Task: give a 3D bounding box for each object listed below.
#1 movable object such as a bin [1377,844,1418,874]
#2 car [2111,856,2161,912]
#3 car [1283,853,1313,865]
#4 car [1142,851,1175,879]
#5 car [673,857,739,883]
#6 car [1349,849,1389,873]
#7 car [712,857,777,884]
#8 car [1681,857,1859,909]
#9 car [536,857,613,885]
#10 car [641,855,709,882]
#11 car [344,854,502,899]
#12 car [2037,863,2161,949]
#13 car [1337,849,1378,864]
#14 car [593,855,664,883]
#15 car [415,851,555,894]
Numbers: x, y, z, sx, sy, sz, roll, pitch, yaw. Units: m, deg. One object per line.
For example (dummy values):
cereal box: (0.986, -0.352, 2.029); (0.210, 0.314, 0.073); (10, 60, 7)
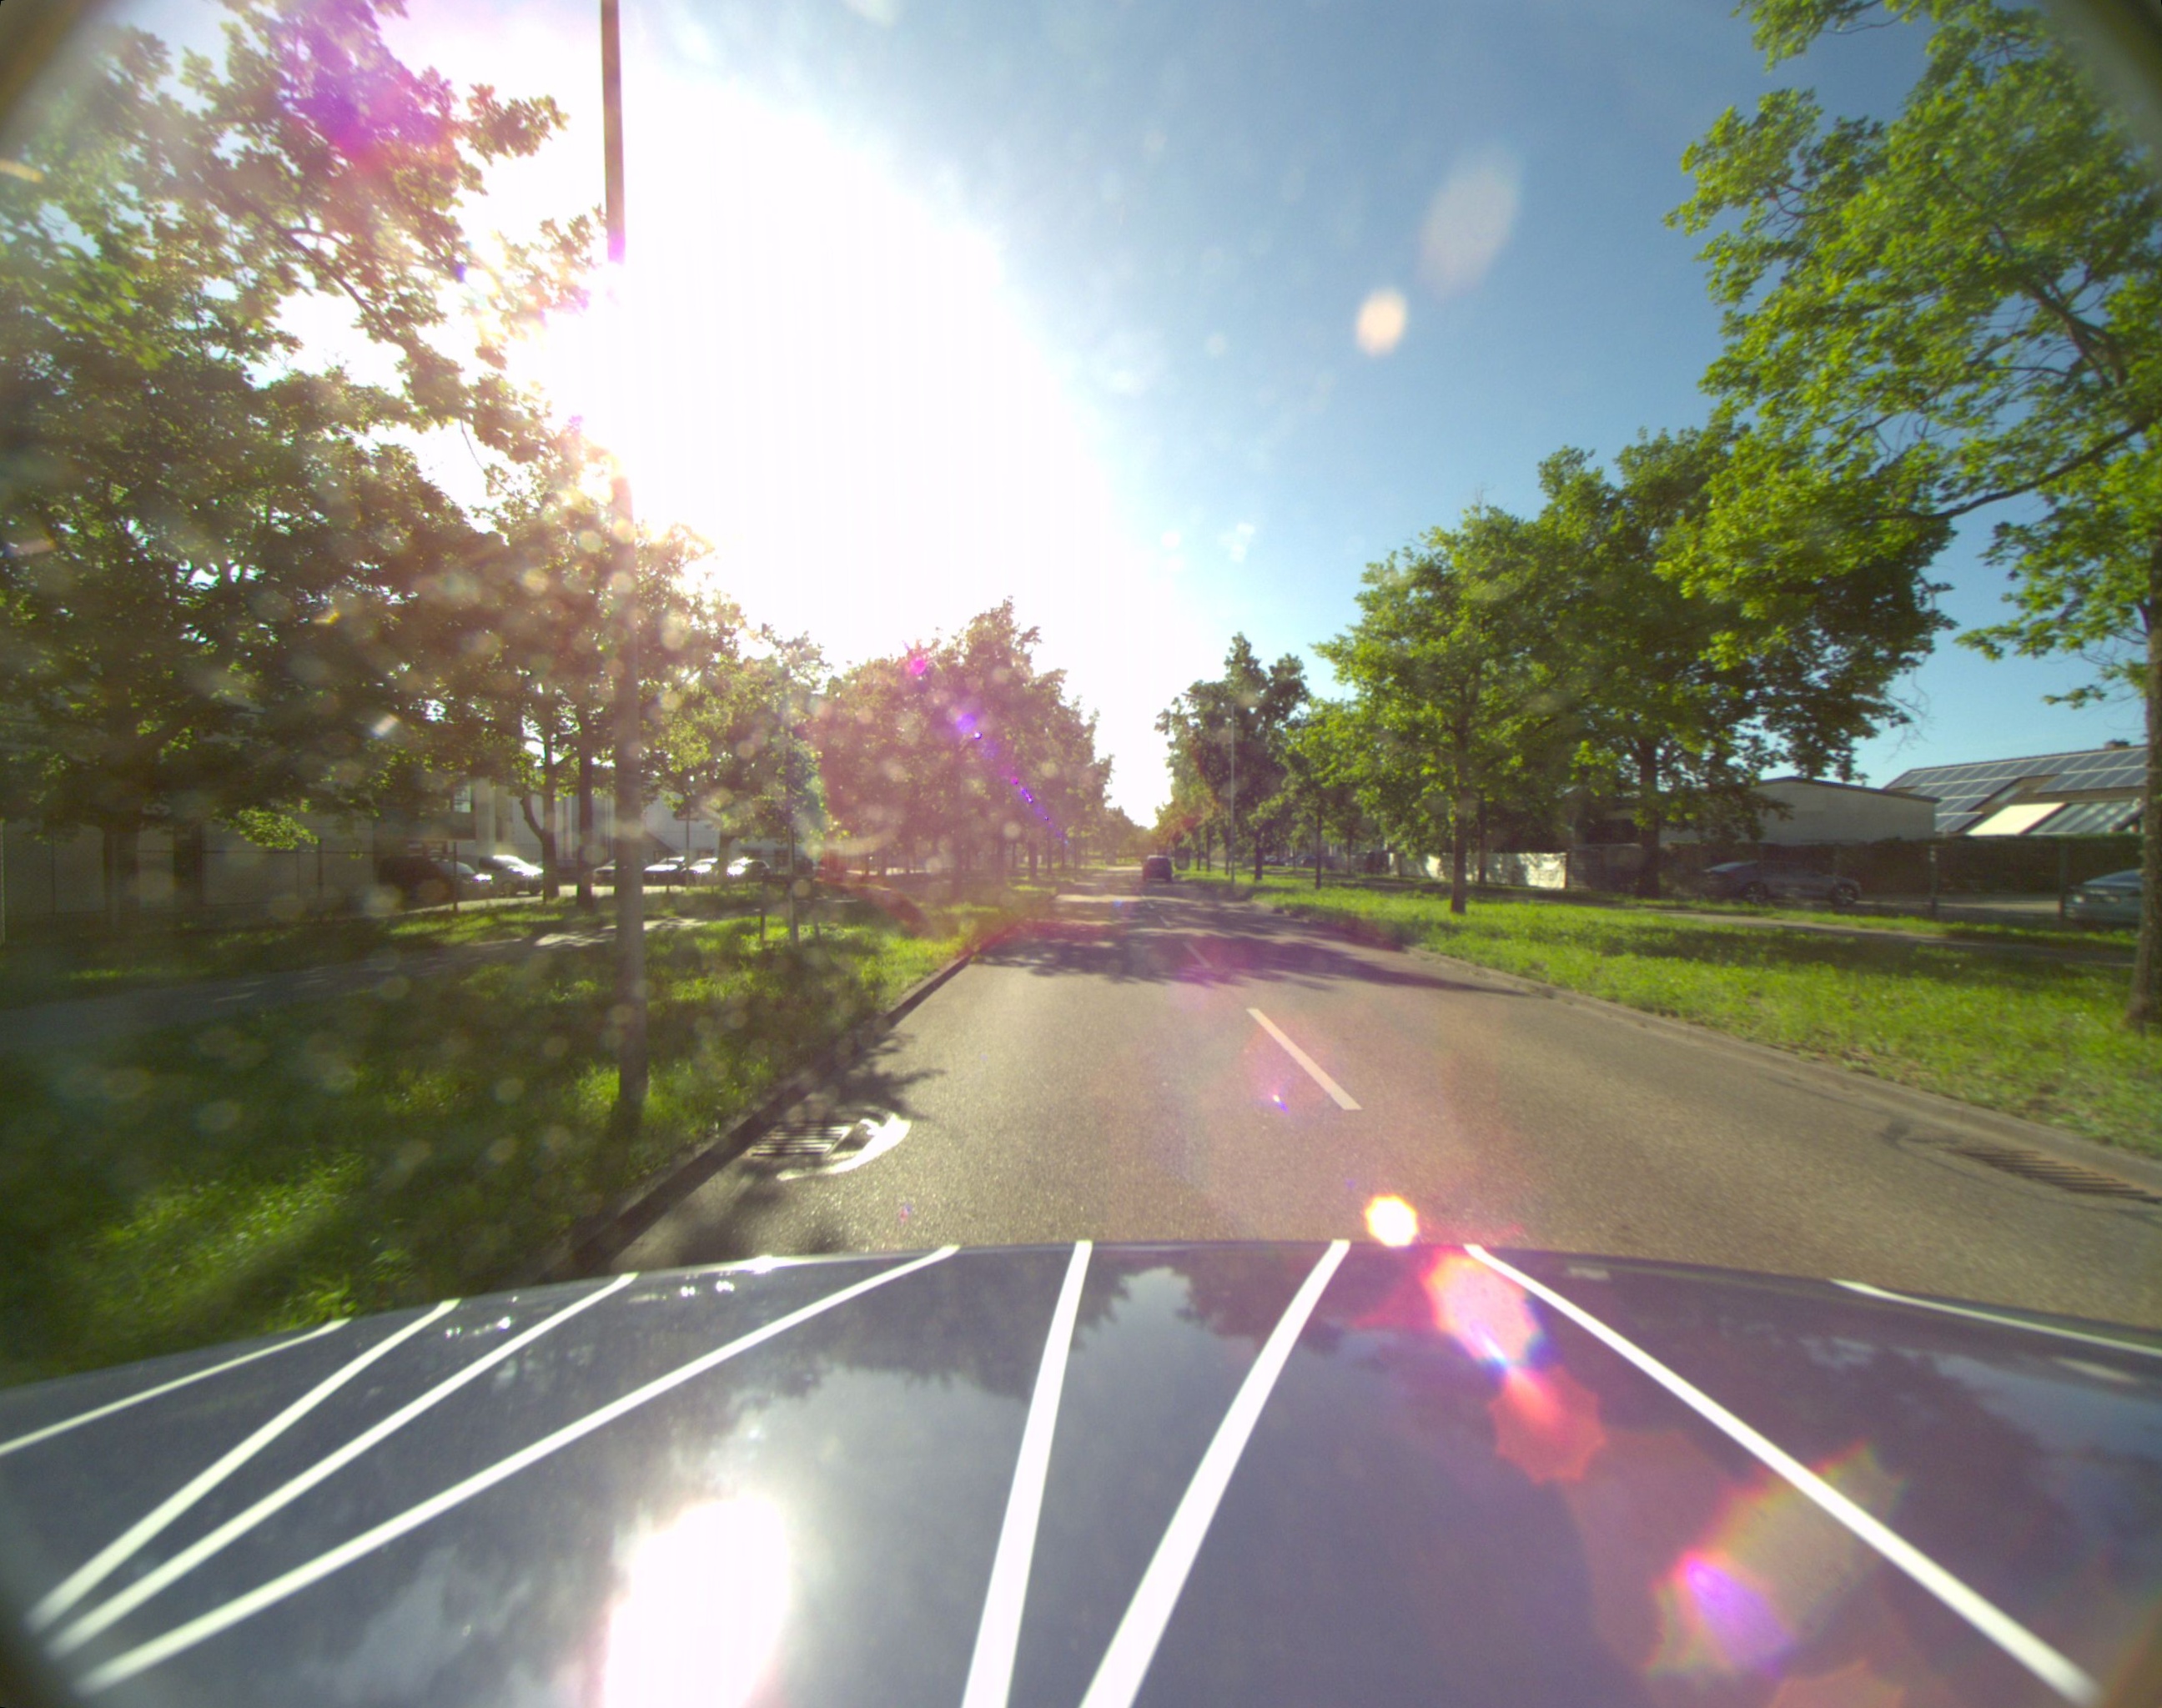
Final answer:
movable object such as a bin: (27.576, 0.375, 66.331); (1.998, 2.501, 4.237); (-2, 1, 5)
car: (32.367, 0.804, 21.450); (3.996, 1.510, 1.751); (-2, 1, 3)
car: (31.110, 0.702, 108.814); (3.885, 1.493, 2.003); (-2, 1, 24)
car: (4.973, 0.695, 49.268); (1.772, 1.663, 4.199); (1, 1, 2)
car: (-24.254, 0.996, 49.282); (1.998, 1.550, 4.456); (0, 0, 1)
car: (27.293, 0.639, 72.324); (1.998, 2.162, 5.672); (-1, 0, 4)
car: (-21.451, 1.013, 48.634); (1.998, 1.597, 4.715); (0, 1, 1)
car: (23.406, 0.960, 25.968); (3.996, 1.510, 2.198); (-2, 1, 3)
car: (-33.677, 1.096, 50.663); (1.698, 1.646, 4.458); (-2, 1, 8)
car: (-26.578, 0.932, 49.902); (1.998, 1.663, 4.456); (0, 0, 1)
car: (-28.289, 0.946, 32.805); (4.961, 1.873, 1.999); (0, 1, -2)
car: (22.665, 0.975, 15.291); (4.321, 1.510, 1.862); (-2, 1, 3)
car: (38.563, 0.344, 106.023); (5.038, 1.827, 2.003); (-2, 1, 26)
car: (-29.199, 0.933, 49.185); (1.999, 1.663, 4.454); (-2, 1, -2)
car: (-28.144, 0.869, 35.997); (5.076, 1.948, 1.894); (1, 1, -2)
